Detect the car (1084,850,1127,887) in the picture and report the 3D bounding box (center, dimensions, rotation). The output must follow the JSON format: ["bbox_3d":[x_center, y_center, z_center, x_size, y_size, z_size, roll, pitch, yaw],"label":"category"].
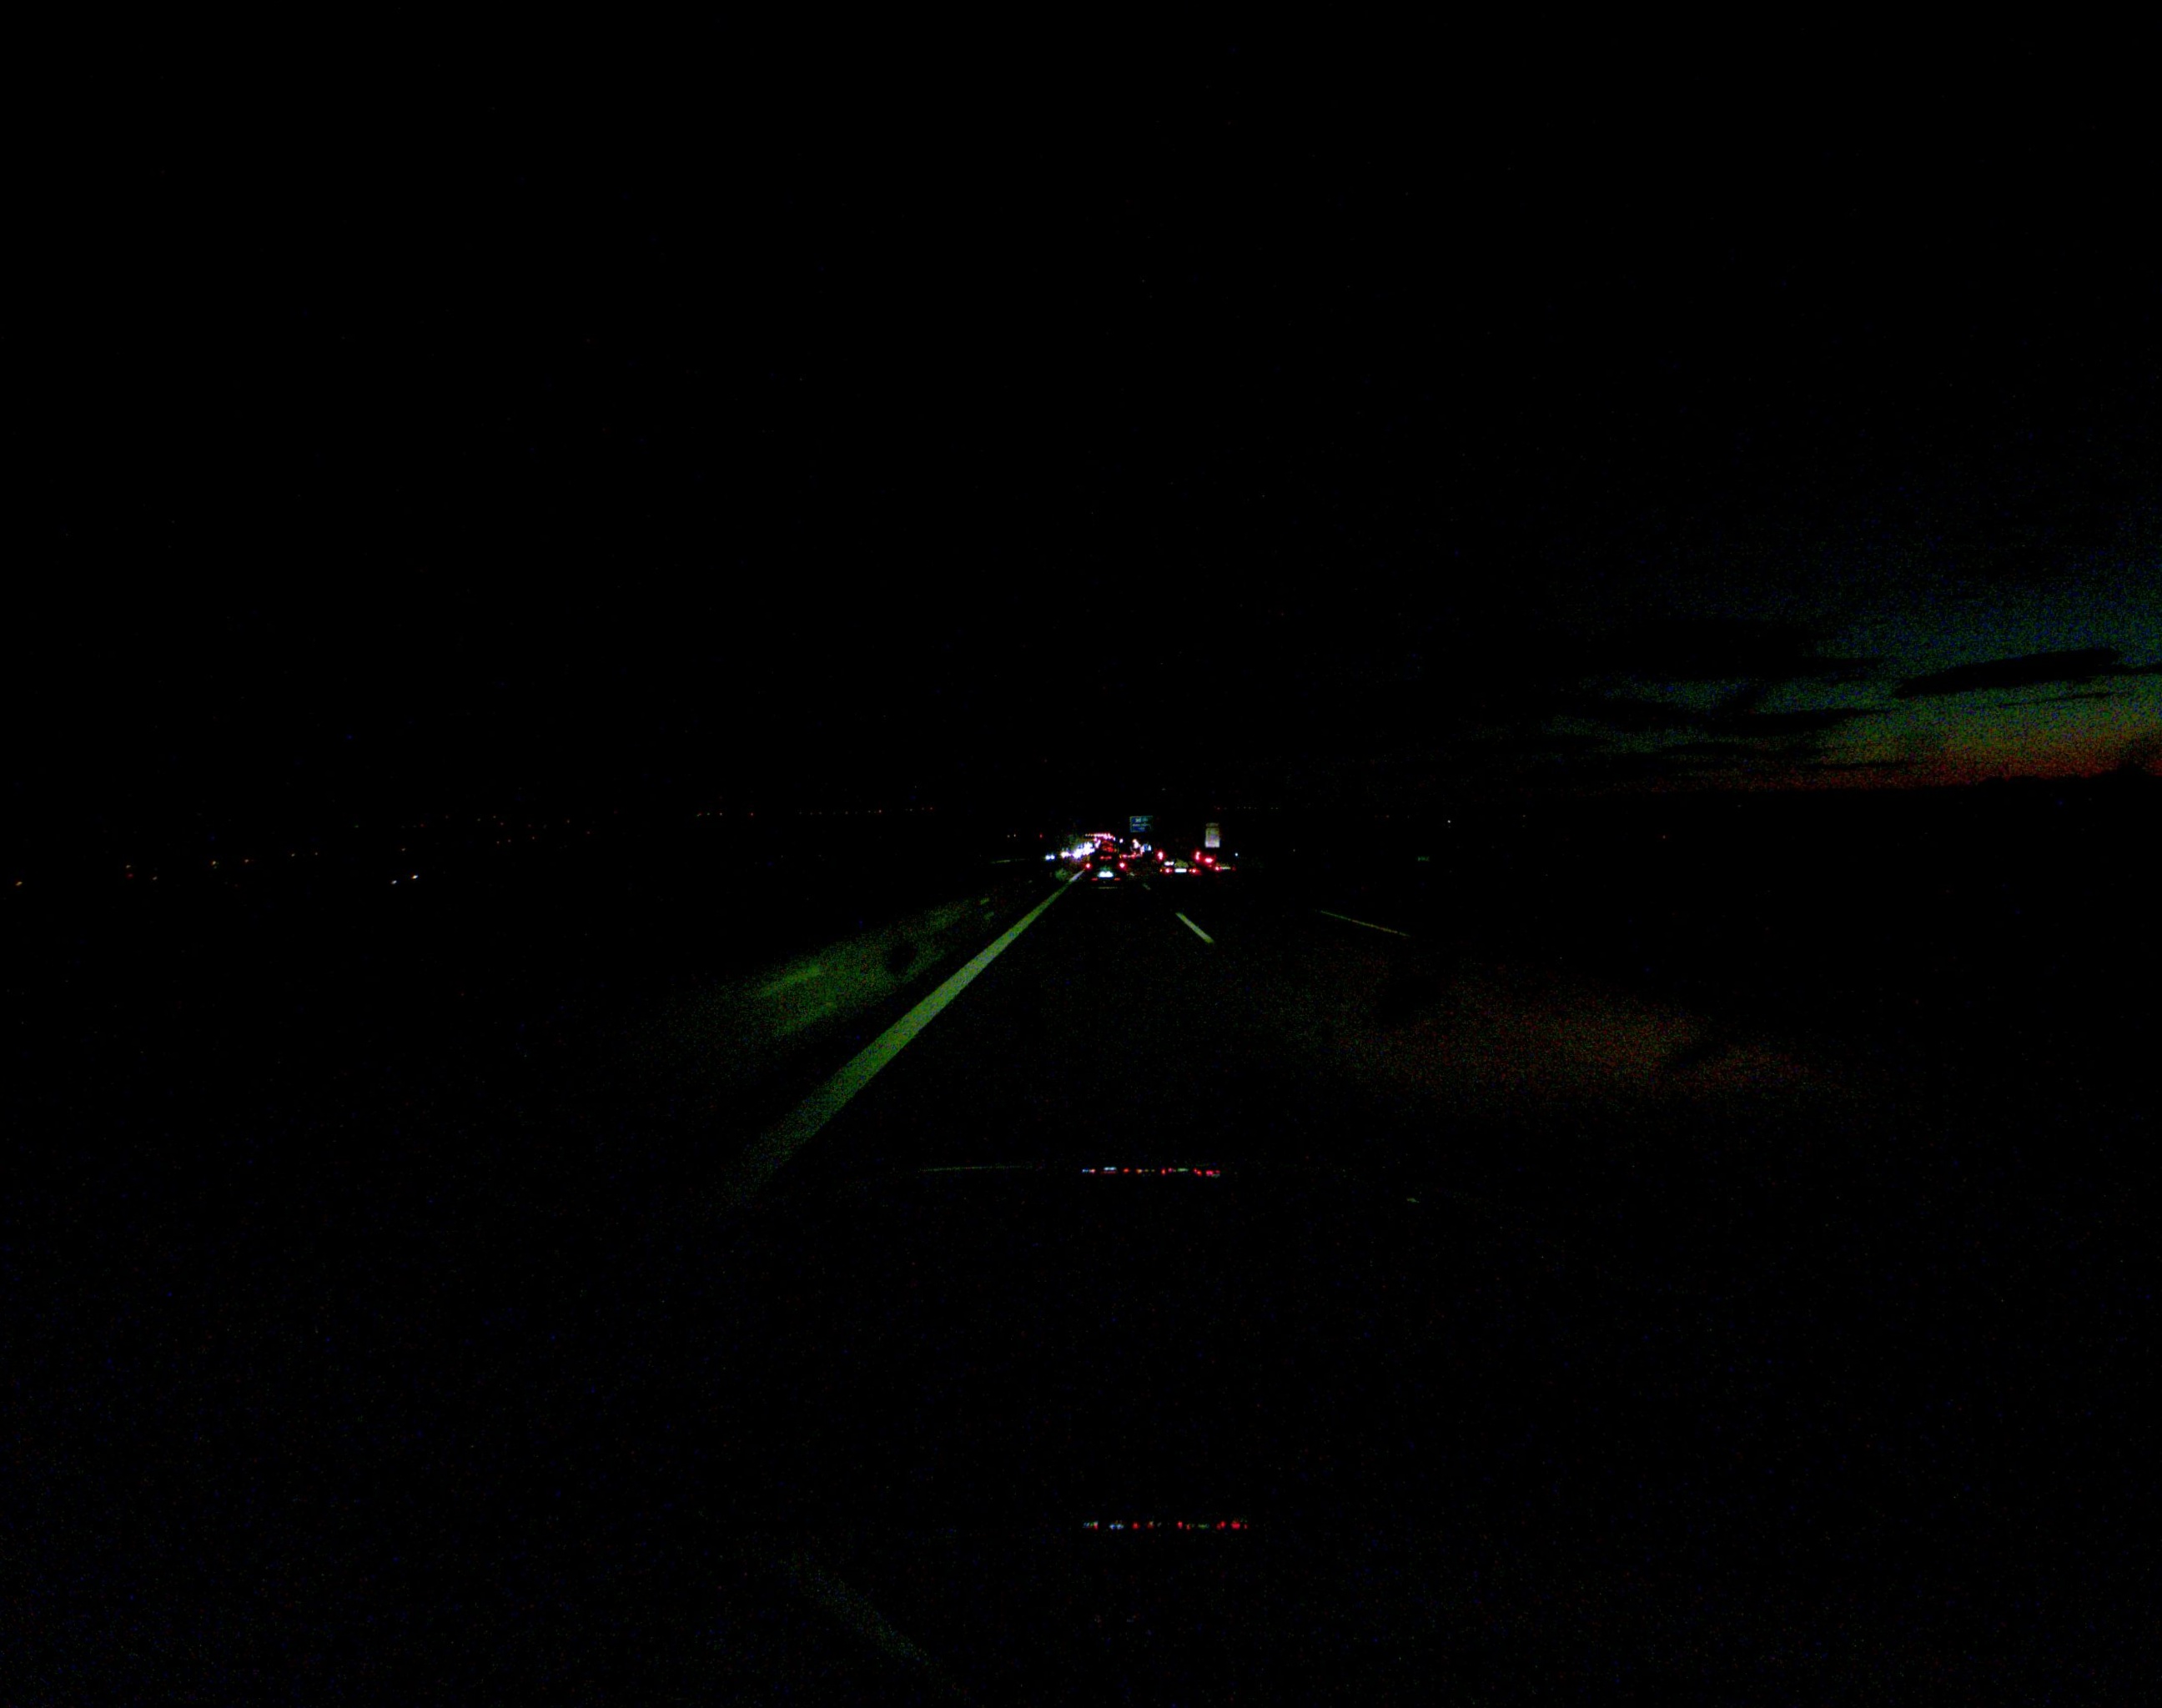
[{"bbox_3d":[1.086,0.597,35.909,1.787,1.469,3.775,-1,1,2],"label":"car"}]

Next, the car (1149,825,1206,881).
[{"bbox_3d":[4.782,-0.074,41.214,2.342,2.535,5.704,-2,1,2],"label":"car"}]

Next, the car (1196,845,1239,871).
[{"bbox_3d":[8.799,0.256,52.802,2.154,1.563,4.725,-1,0,2],"label":"car"}]

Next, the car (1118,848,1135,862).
[{"bbox_3d":[6.527,0.116,118.149,2.342,1.914,4.725,-2,0,2],"label":"car"}]

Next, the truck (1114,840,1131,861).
[{"bbox_3d":[7.936,-0.643,156.868,2.772,3.955,7.993,-2,0,0],"label":"truck"}]

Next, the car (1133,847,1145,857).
[{"bbox_3d":[12.555,-0.451,177.619,2.342,2.075,4.725,-2,1,2],"label":"car"}]

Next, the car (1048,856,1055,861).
[{"bbox_3d":[-8.897,1.330,245.248,1.987,1.478,5.045,-4,0,1],"label":"car"}]

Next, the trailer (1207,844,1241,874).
[{"bbox_3d":[8.599,0.303,49.176,1.560,1.693,2.822,-2,0,1],"label":"trailer"}]
